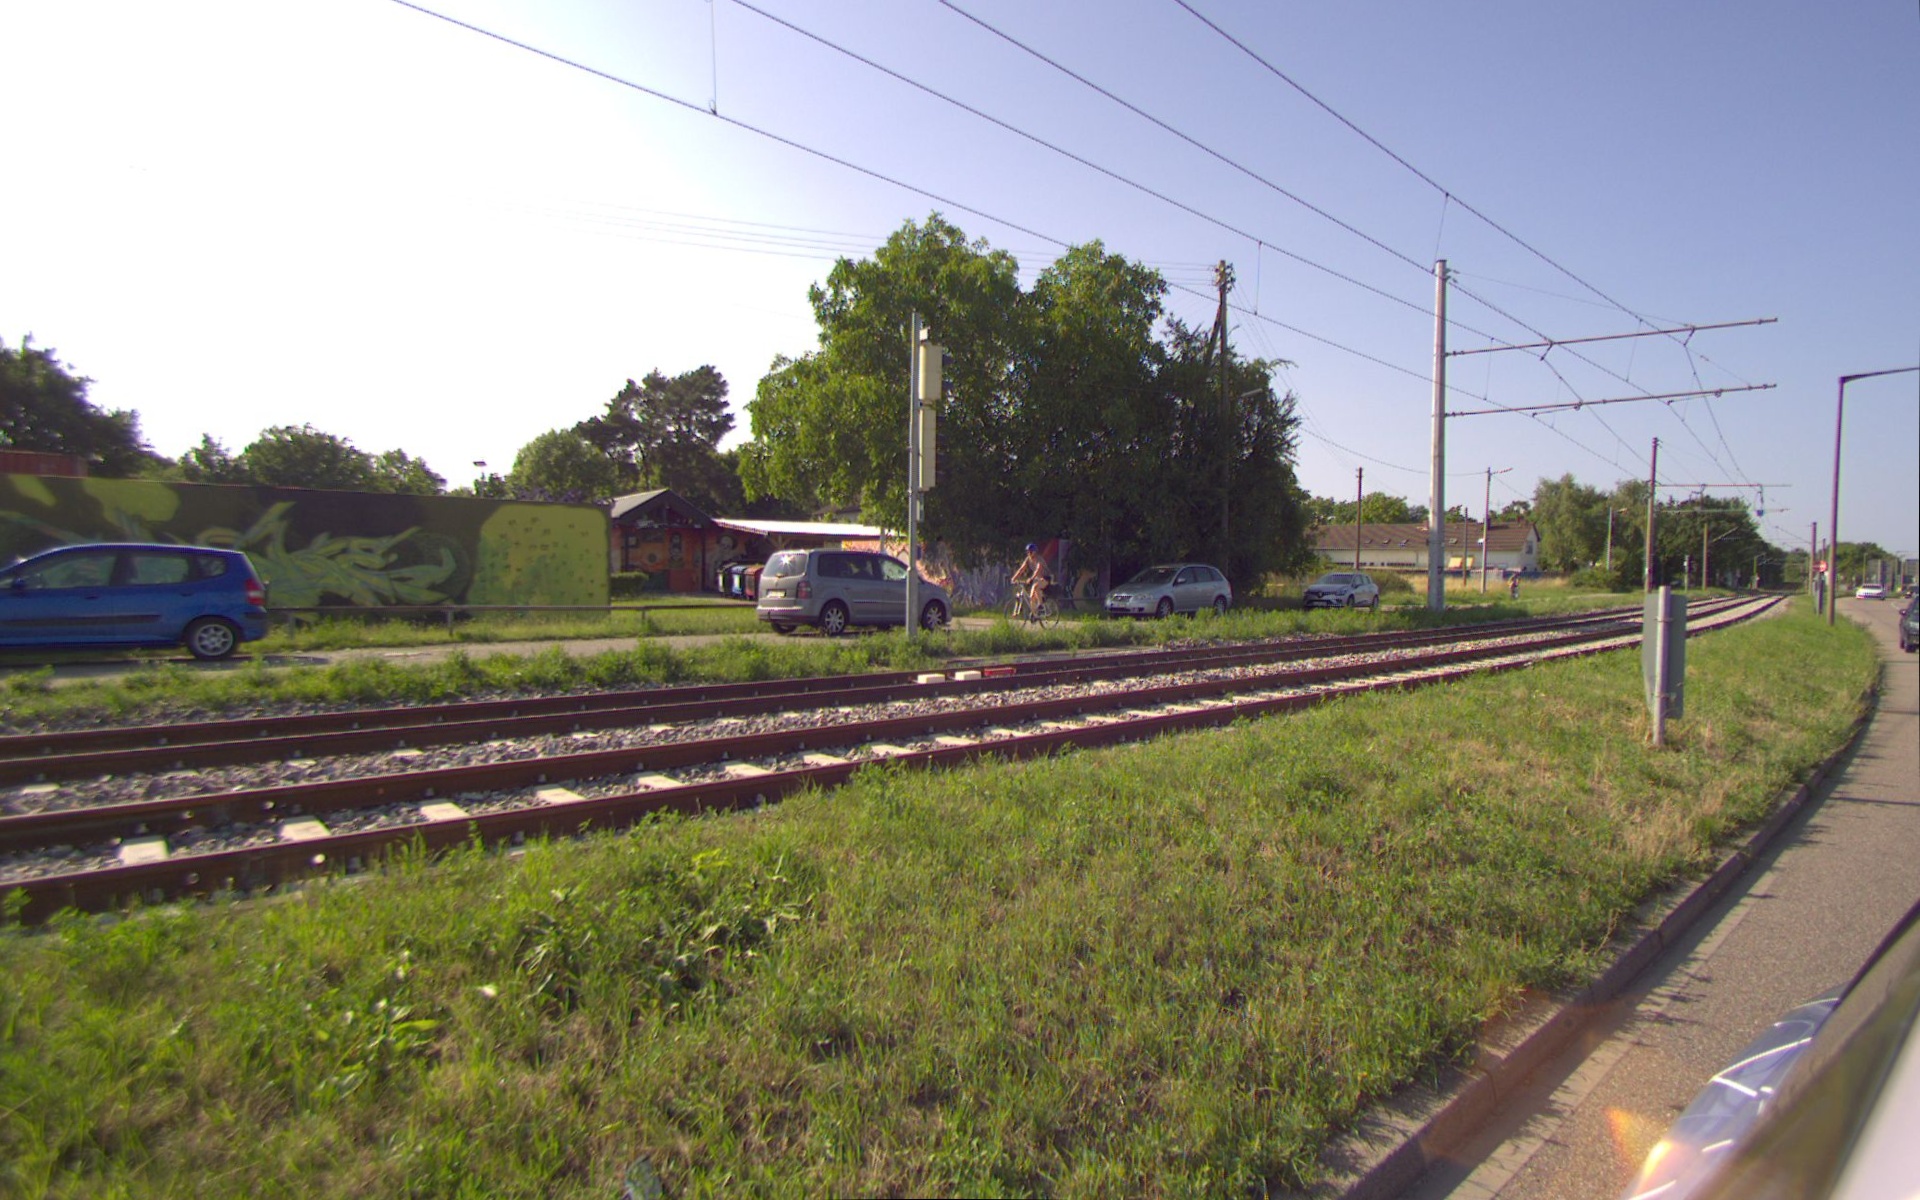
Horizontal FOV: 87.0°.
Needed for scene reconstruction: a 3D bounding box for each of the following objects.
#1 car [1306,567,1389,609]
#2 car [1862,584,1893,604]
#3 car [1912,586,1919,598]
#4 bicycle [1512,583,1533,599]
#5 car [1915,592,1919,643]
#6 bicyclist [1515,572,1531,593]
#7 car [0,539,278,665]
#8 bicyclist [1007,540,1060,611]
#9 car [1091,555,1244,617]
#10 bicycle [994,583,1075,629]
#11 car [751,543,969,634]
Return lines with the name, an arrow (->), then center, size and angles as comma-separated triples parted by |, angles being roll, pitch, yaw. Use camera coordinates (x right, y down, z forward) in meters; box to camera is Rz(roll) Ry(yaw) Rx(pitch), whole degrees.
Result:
car -> 14.508, -0.459, 37.744 | 1.533, 1.466, 4.069 | 3, 2, 41
car -> 80.131, -0.562, 88.423 | 1.962, 1.639, 4.242 | 2, 2, 42
car -> 121.886, -1.036, 128.118 | 1.830, 1.532, 4.092 | 0, 0, 40
bicycle -> 33.007, -0.549, 59.392 | 0.643, 0.921, 1.785 | 1, 1, 44
car -> 27.586, 0.451, 27.833 | 1.843, 1.372, 4.087 | 0, 0, 44
bicyclist -> 33.035, -1.014, 59.416 | 0.639, 1.248, 0.779 | 1, 1, 44
car -> -10.981, 0.024, 12.782 | 3.839, 1.448, 1.682 | 0, 0, -38
bicyclist -> 1.532, -0.510, 21.058 | 0.946, 1.440, 0.630 | 0, 1, -43
car -> 6.026, -0.413, 29.109 | 4.646, 1.610, 1.910 | 0, 2, -42
bicycle -> 1.568, 0.107, 21.095 | 1.813, 0.921, 0.643 | -1, 1, -43
car -> -1.884, -0.253, 20.256 | 1.522, 1.630, 4.414 | 3, 2, 43
